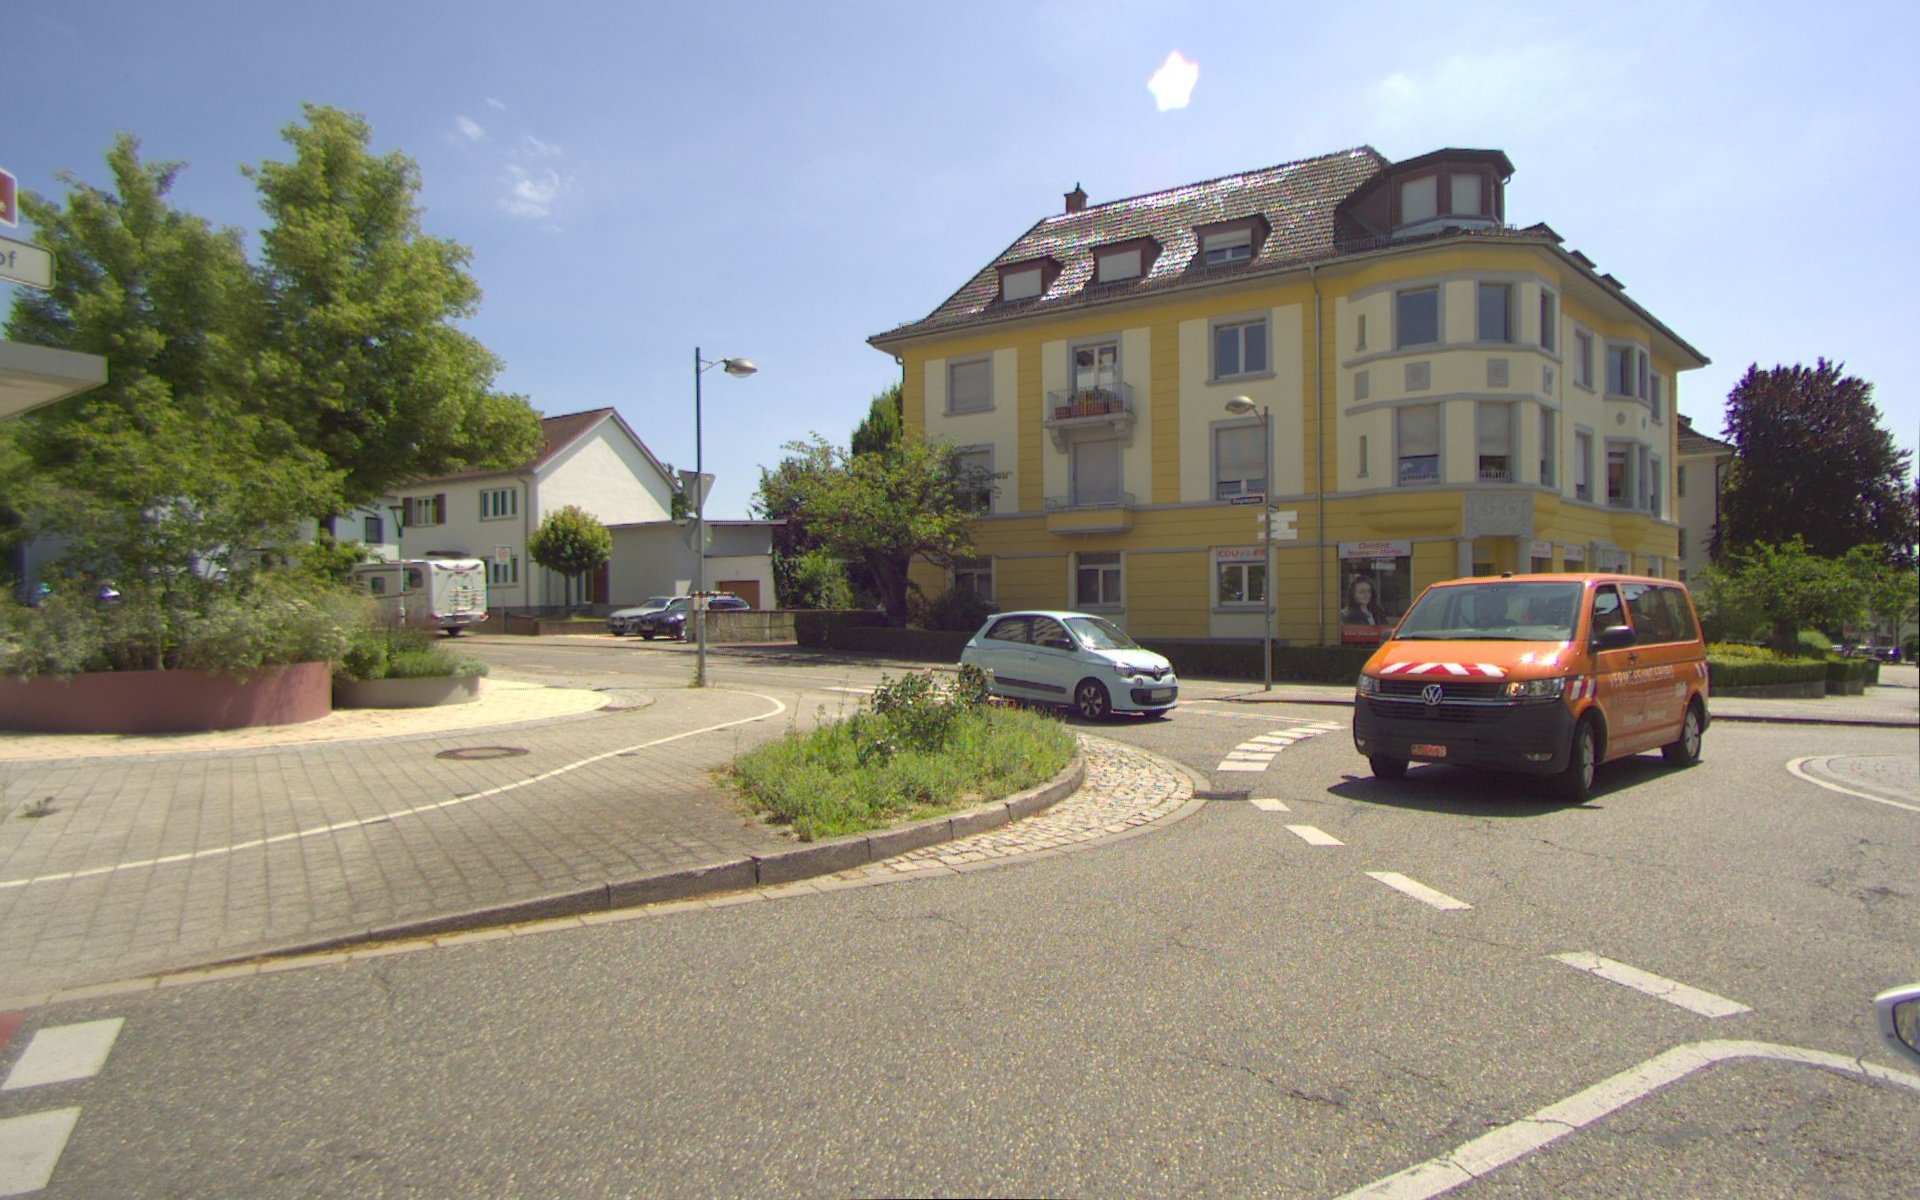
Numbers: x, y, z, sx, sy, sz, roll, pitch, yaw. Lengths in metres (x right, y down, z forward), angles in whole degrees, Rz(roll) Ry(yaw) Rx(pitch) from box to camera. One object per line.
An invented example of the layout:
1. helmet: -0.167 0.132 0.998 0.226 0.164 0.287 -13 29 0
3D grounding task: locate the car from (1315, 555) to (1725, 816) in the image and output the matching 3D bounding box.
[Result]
1. car: 5.751 0.671 10.004 4.979 1.985 1.928 0 -1 -40

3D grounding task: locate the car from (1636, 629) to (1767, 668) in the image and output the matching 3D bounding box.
1. car: 32.491 2.114 44.193 4.337 1.529 1.998 1 -1 28

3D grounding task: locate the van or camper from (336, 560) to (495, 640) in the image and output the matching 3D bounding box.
1. van or camper: -19.512 -0.072 35.922 5.780 2.674 2.270 1 2 30

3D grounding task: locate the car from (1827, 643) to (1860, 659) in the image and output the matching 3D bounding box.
1. car: 91.944 5.288 104.575 1.966 1.508 3.989 2 0 34

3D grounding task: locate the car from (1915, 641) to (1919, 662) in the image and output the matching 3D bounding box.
1. car: 71.436 3.800 73.139 1.966 1.529 4.408 1 -1 33

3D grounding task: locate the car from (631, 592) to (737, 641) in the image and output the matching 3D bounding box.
1. car: -9.624 0.576 35.303 1.721 1.607 3.994 1 -1 16

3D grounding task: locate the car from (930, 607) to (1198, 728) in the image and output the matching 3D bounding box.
1. car: 1.508 0.947 15.819 1.649 1.545 4.108 1 1 -44

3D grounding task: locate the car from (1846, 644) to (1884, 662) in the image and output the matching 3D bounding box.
1. car: 85.800 5.004 95.298 1.966 1.529 4.408 1 -1 33

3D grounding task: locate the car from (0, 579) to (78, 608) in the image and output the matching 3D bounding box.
1. car: -55.894 -0.369 60.265 1.782 1.630 4.118 1 -1 23

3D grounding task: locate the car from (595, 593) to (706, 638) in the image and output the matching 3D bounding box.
1. car: -11.613 0.583 37.972 1.723 1.607 3.988 1 -1 26

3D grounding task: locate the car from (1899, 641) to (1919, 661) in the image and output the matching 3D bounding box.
1. car: 74.023 3.936 77.127 1.966 1.529 4.408 1 -1 33

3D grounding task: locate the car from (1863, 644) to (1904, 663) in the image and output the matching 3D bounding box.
1. car: 82.717 4.760 90.023 1.966 1.529 4.408 1 -1 33

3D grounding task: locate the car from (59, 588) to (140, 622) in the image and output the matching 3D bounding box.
1. car: -40.926 0.245 47.744 3.922 1.525 1.753 1 -1 31
